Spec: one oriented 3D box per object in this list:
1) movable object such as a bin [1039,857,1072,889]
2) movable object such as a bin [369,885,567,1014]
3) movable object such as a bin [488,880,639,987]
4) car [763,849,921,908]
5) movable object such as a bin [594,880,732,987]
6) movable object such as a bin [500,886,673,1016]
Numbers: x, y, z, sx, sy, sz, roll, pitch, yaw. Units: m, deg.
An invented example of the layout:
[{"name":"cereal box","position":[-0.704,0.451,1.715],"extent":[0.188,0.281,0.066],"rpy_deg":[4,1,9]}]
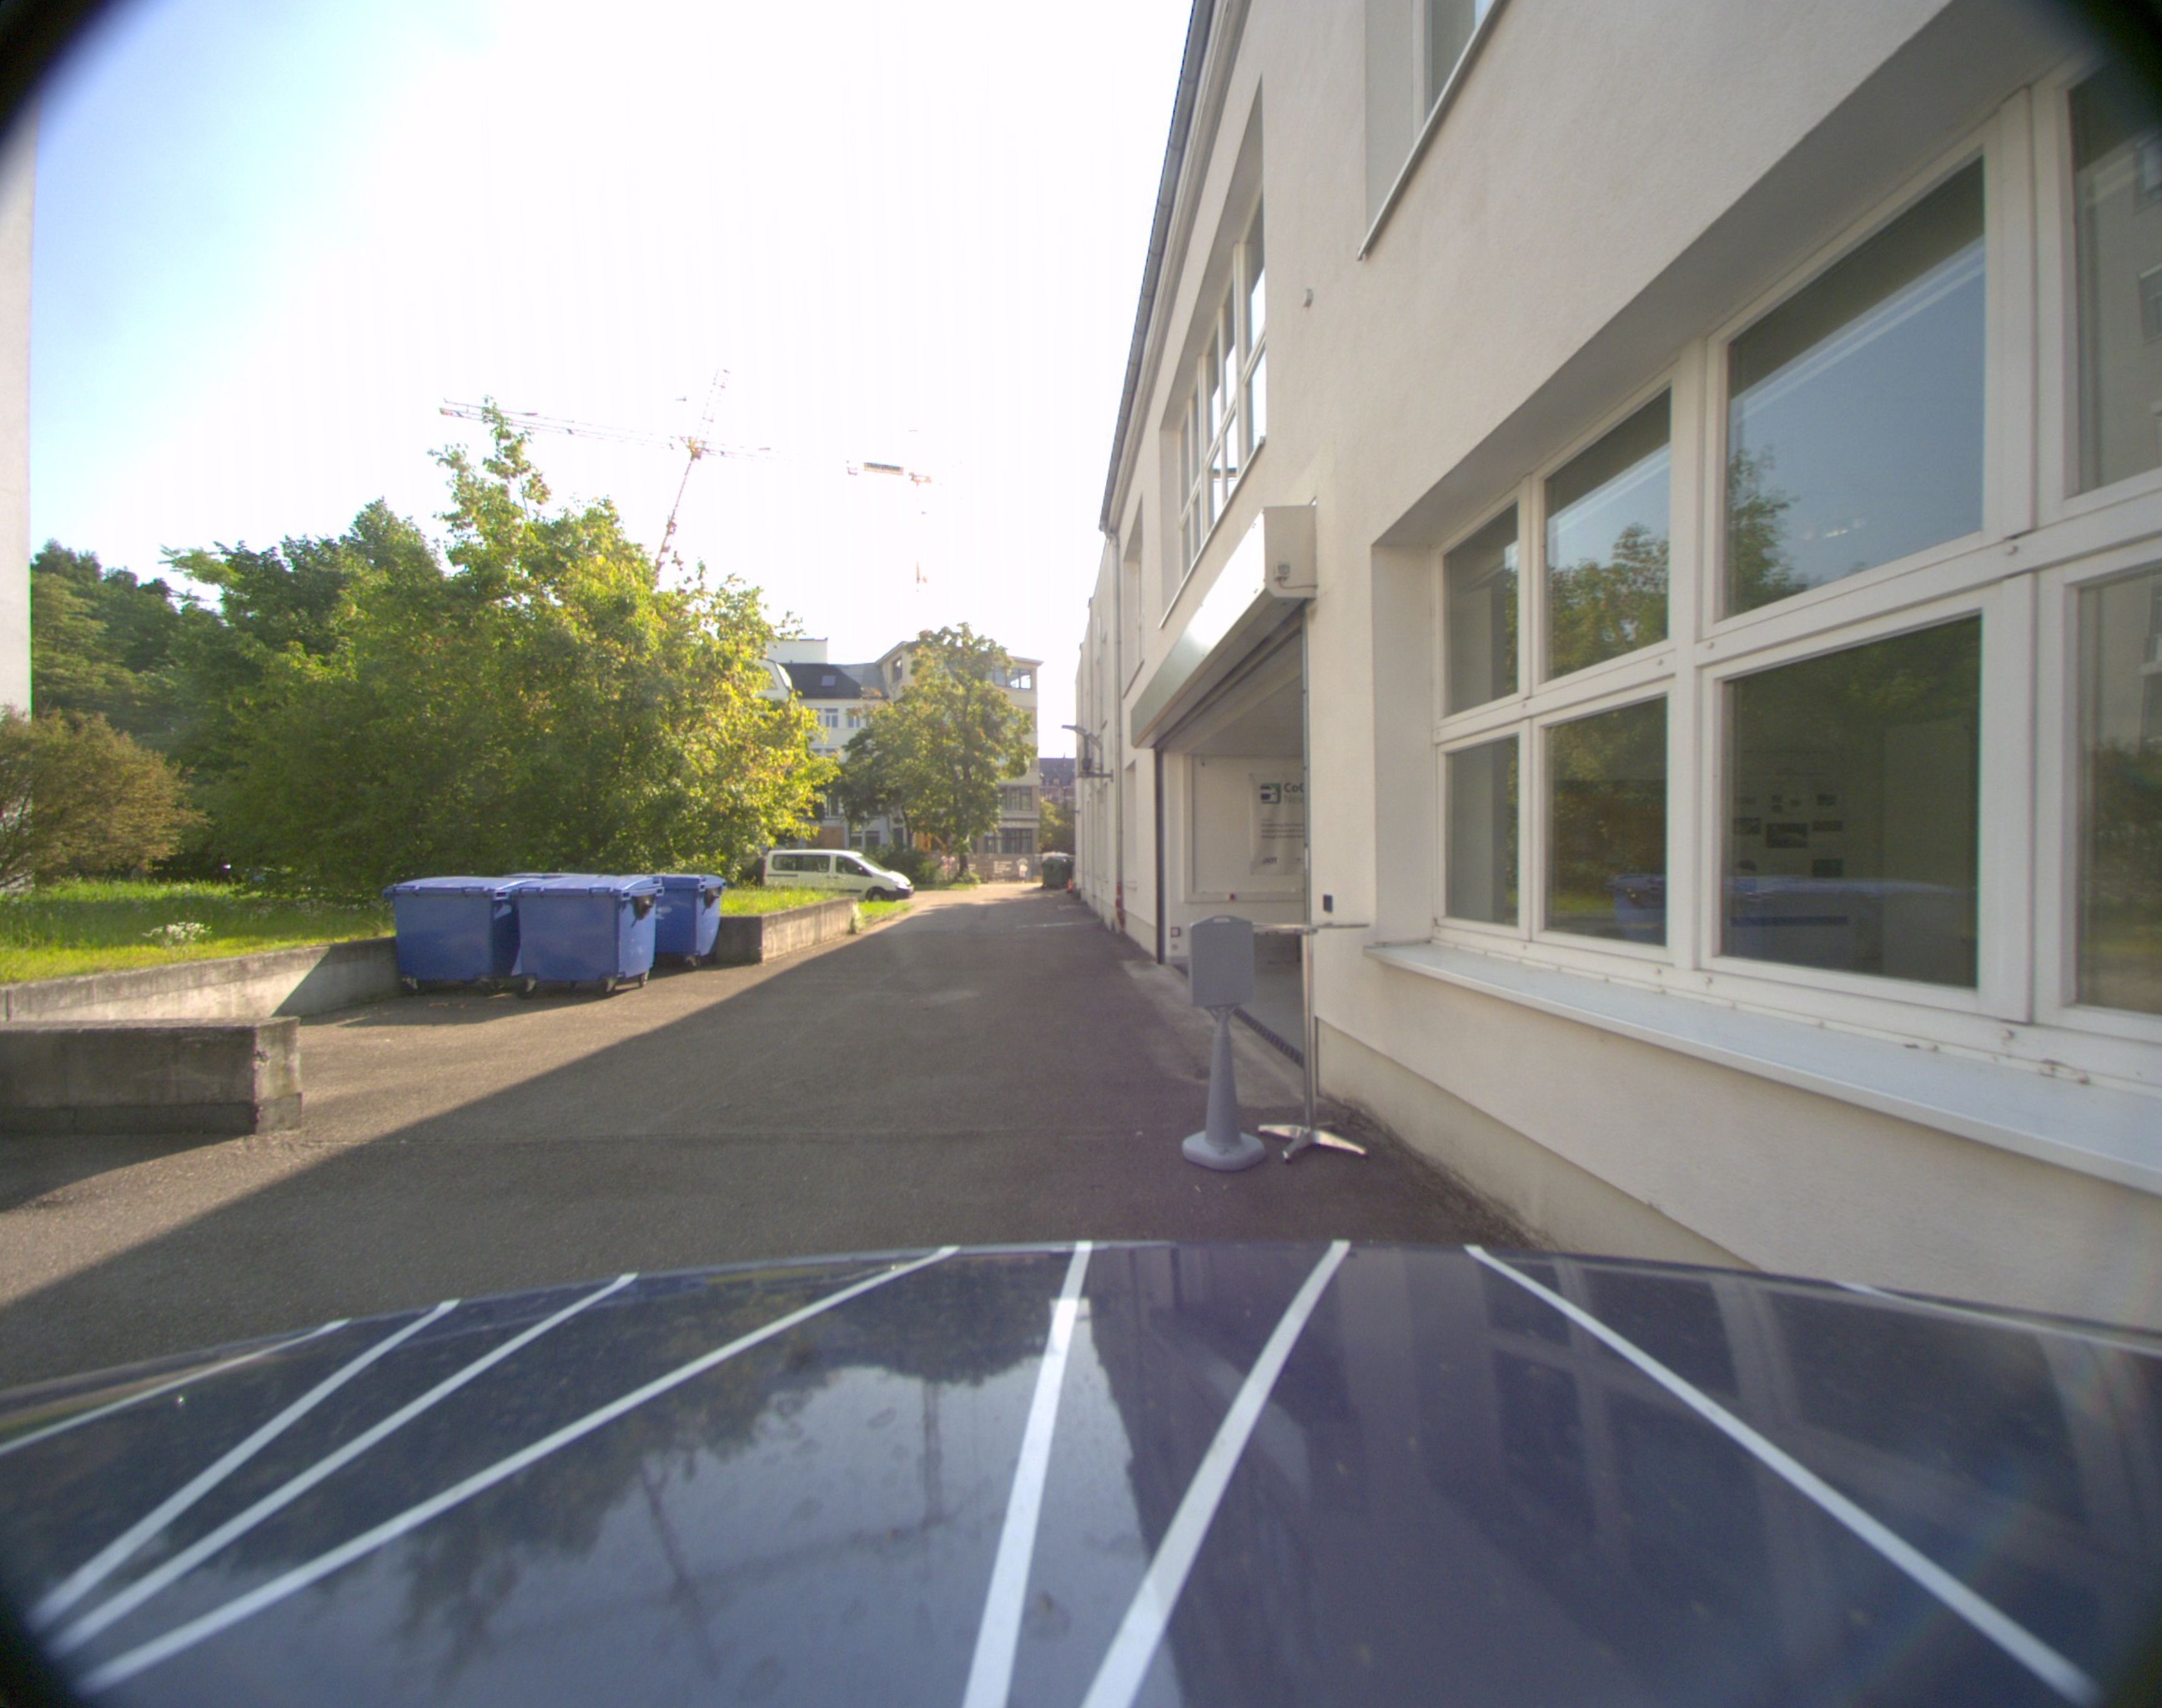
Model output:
[{"name":"movable object such as a bin","position":[-1.207,0.858,35.652],"extent":[1.525,1.457,1.275],"rpy_deg":[-1,0,-2]},{"name":"movable object such as a bin","position":[-7.068,1.059,8.867],"extent":[1.257,1.320,1.275],"rpy_deg":[-1,0,-2]},{"name":"movable object such as a bin","position":[-7.054,1.046,10.457],"extent":[1.200,1.320,1.275],"rpy_deg":[-1,0,-2]},{"name":"car","position":[-8.031,0.793,25.853],"extent":[4.790,1.920,1.909],"rpy_deg":[0,0,-1]},{"name":"movable object such as a bin","position":[-5.711,1.051,10.482],"extent":[1.200,1.320,1.275],"rpy_deg":[-1,0,-2]},{"name":"movable object such as a bin","position":[-5.714,1.079,8.905],"extent":[1.214,1.343,1.274],"rpy_deg":[-1,0,-4]}]
